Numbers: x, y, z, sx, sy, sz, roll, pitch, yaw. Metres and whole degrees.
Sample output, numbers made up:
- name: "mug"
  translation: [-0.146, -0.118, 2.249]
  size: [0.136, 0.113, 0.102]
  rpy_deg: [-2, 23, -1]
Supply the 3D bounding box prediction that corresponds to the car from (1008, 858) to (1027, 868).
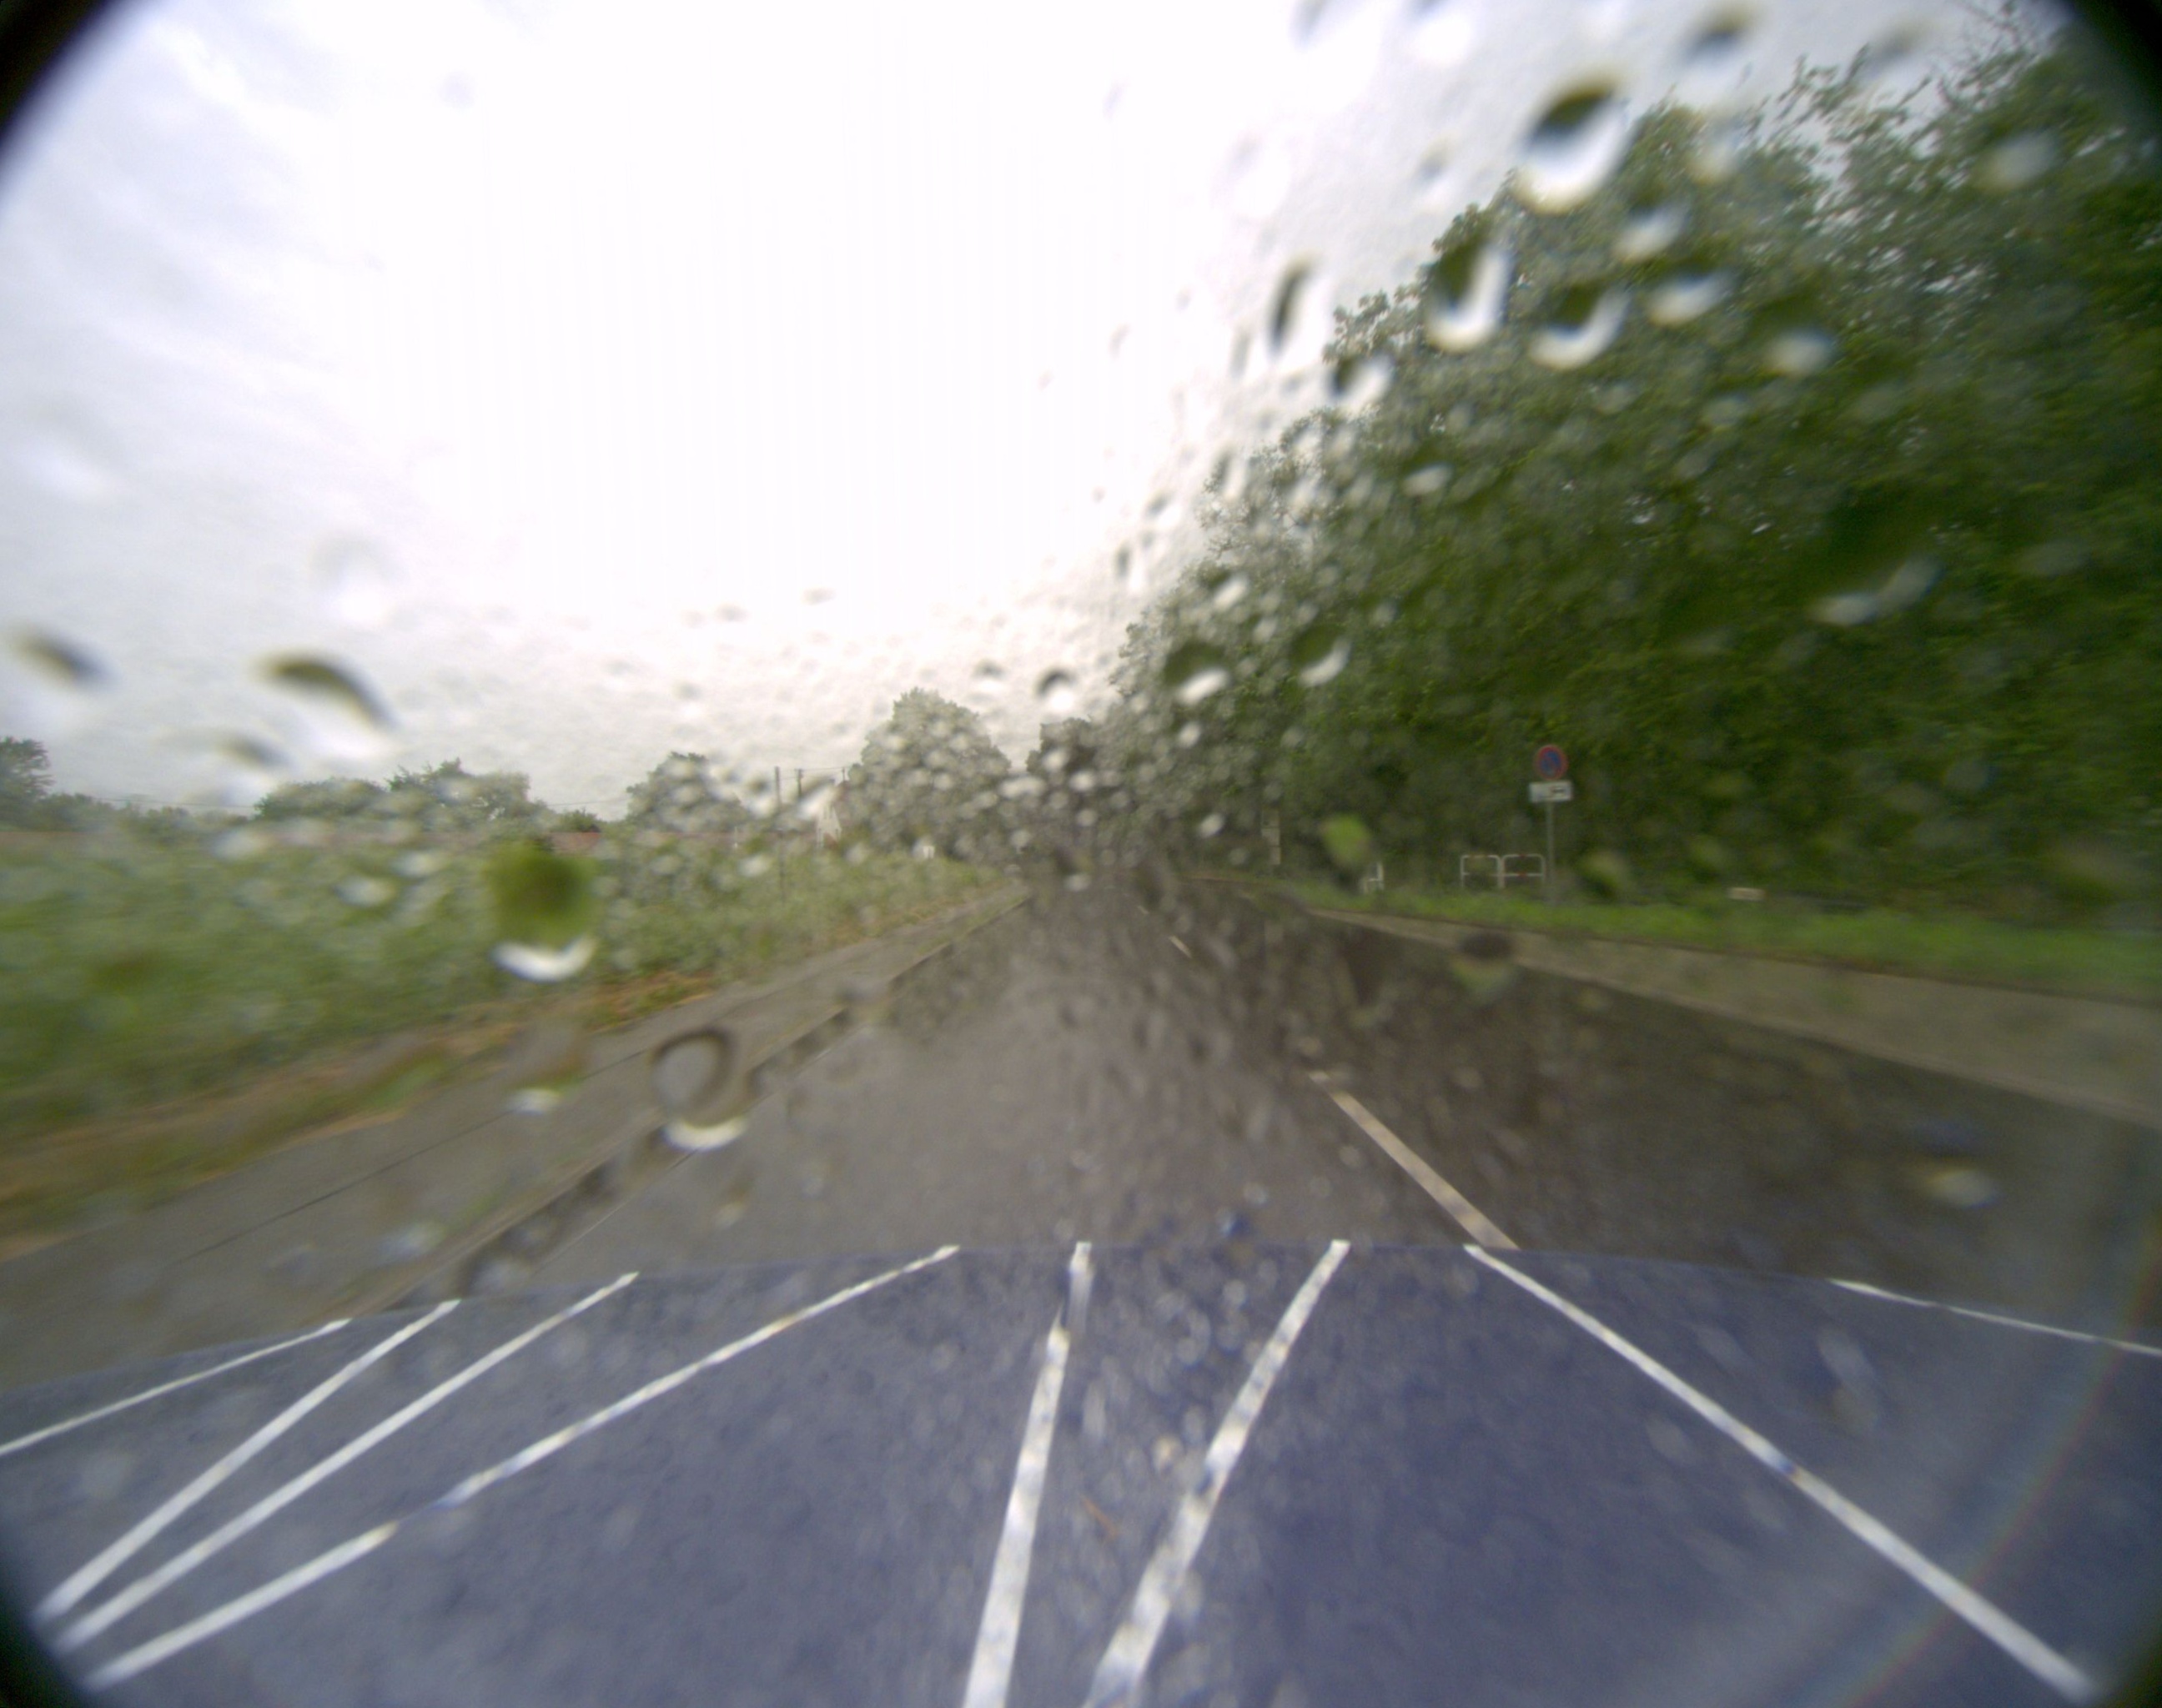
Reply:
- name: "car"
  translation: [-9.188, 1.286, 109.727]
  size: [2.142, 1.341, 4.303]
  rpy_deg: [-2, 0, -10]
